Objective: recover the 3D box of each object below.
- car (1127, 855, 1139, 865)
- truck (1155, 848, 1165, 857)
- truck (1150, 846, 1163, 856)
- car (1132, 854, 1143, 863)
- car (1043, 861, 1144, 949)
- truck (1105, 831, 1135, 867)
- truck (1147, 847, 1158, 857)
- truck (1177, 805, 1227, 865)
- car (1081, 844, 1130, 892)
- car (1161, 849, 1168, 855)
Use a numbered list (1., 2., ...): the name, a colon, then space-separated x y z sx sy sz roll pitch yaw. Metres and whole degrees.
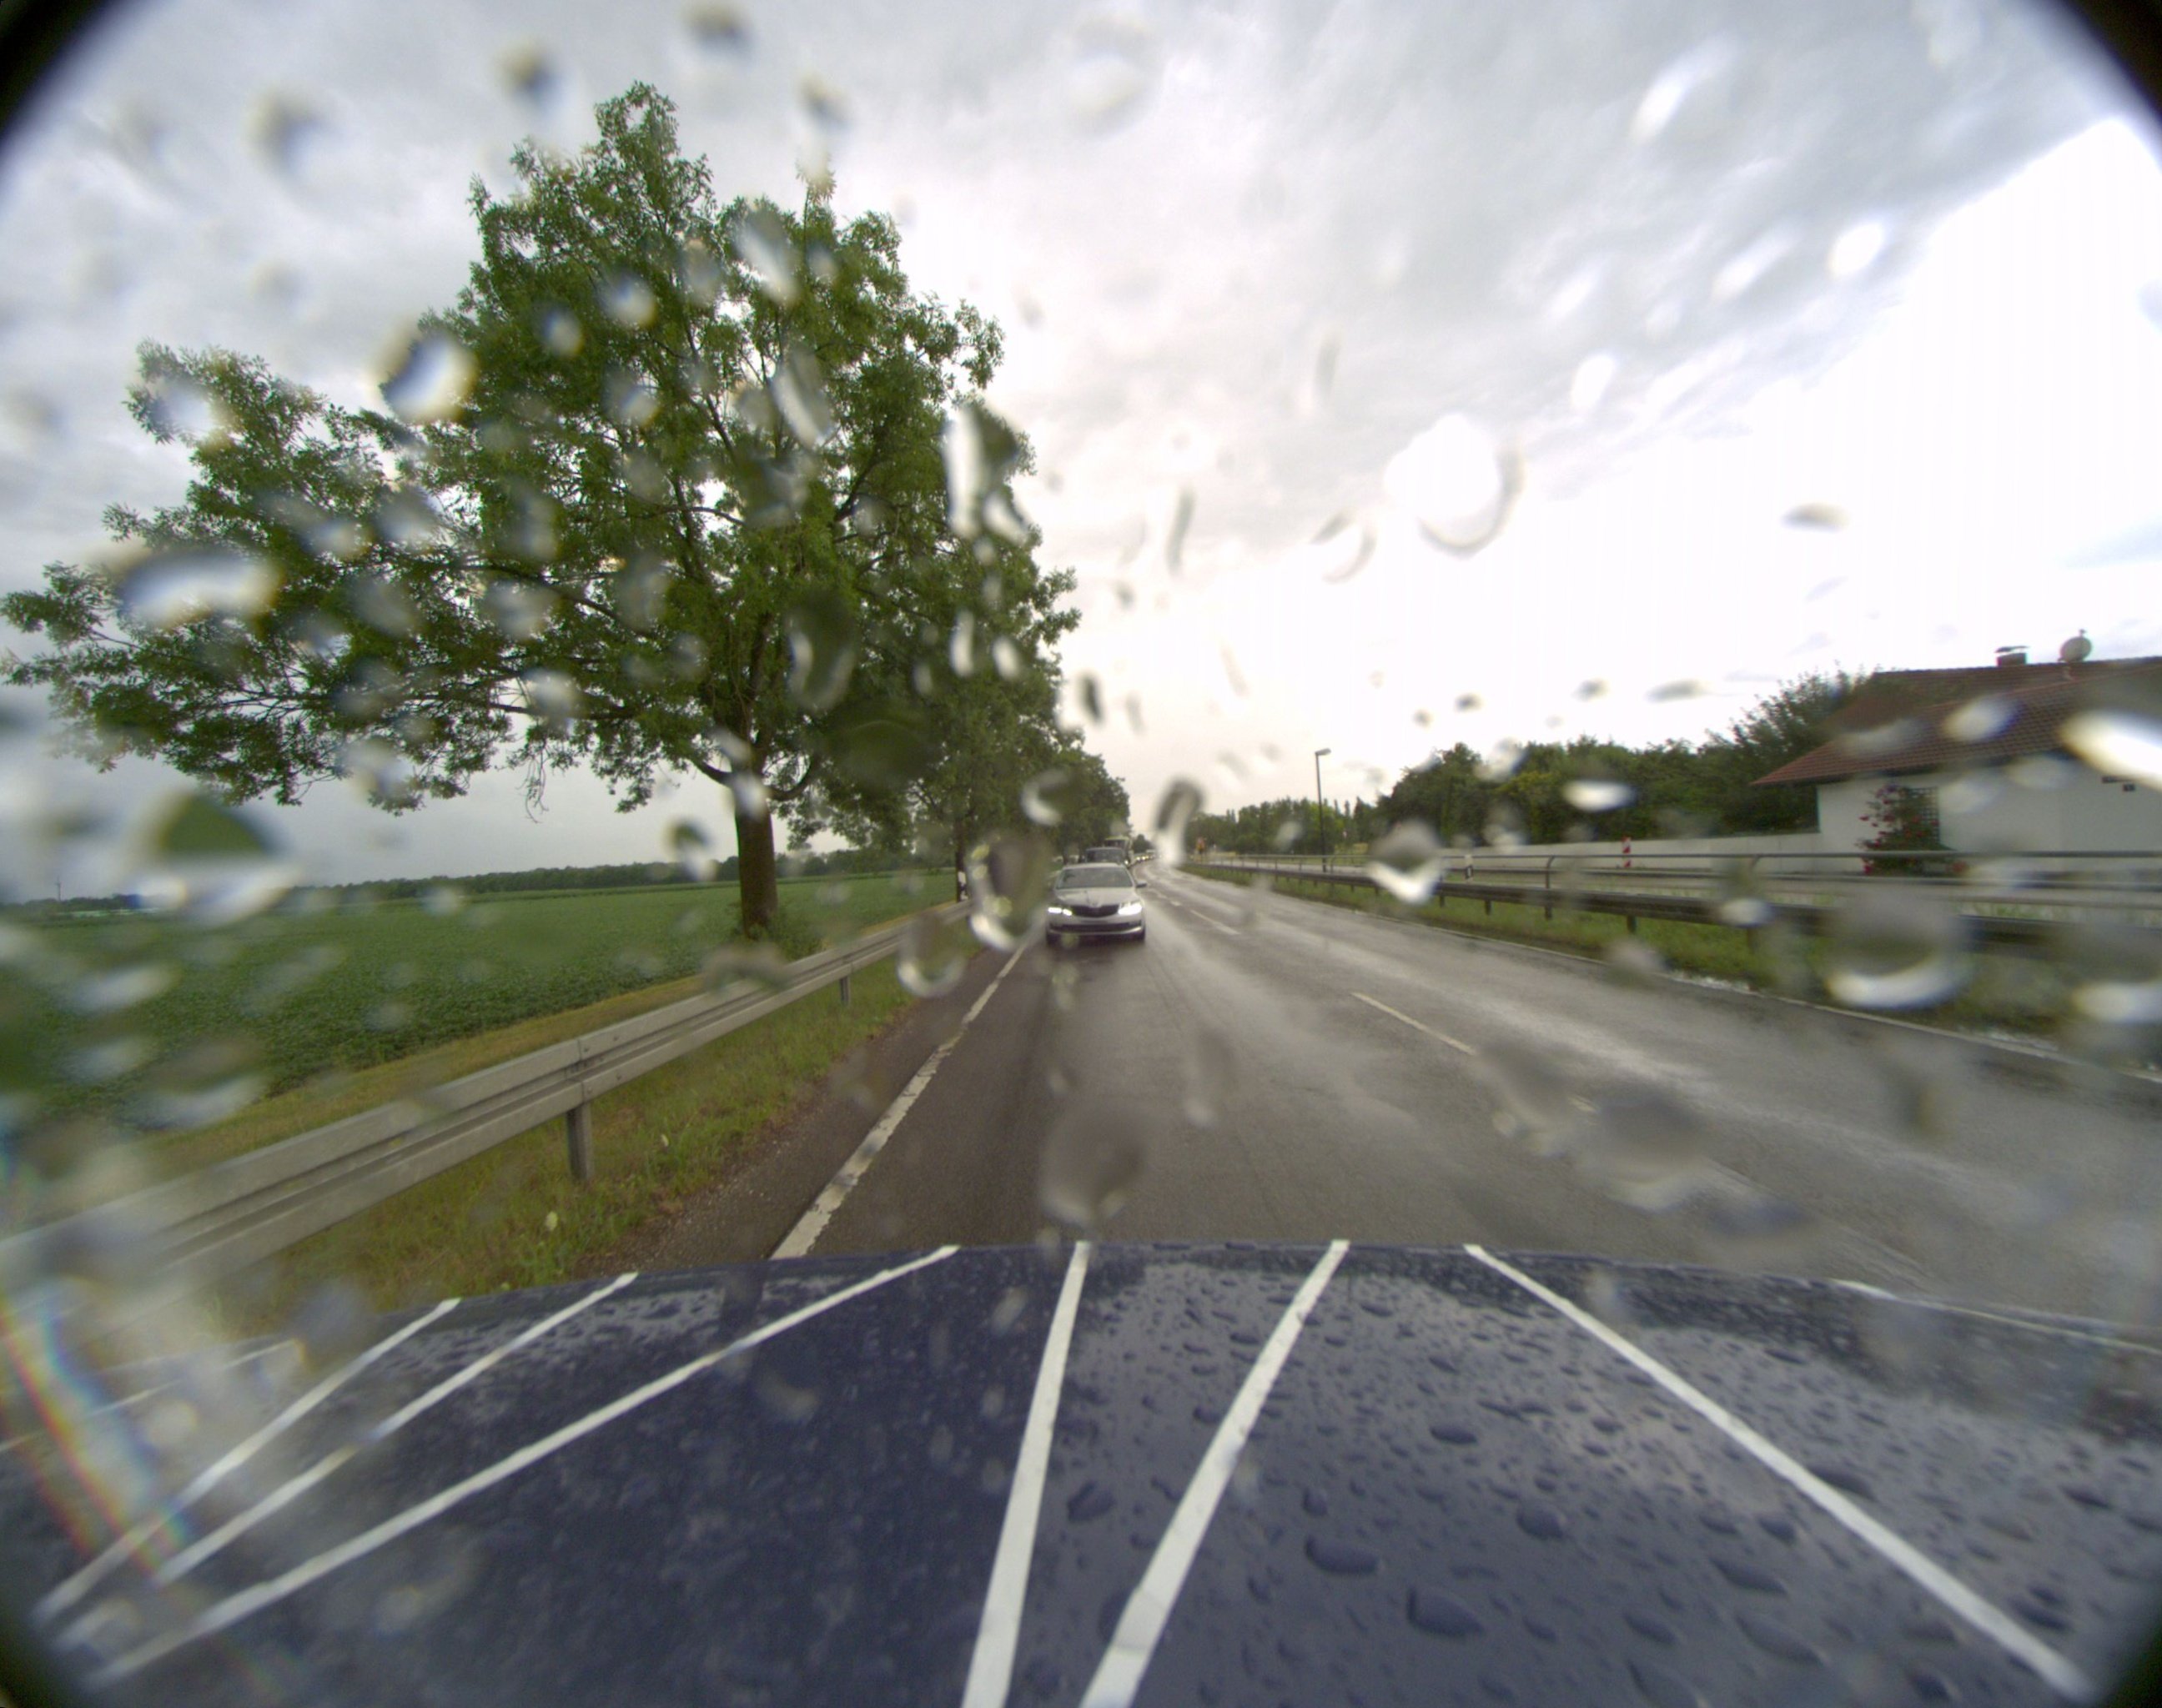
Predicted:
1. car: 8.399 0.985 123.276 1.690 1.572 3.784 -3 0 3
2. truck: 24.934 -0.424 240.583 2.800 2.461 7.169 -3 0 3
3. truck: 19.403 -0.739 194.717 2.800 2.461 7.169 -3 0 3
4. car: 10.384 0.772 139.789 1.690 1.572 3.784 -3 0 3
5. car: 0.200 0.902 15.052 1.705 1.438 4.000 -1 0 0
6. truck: 4.119 -0.507 82.456 2.751 3.547 8.386 -3 0 1
7. truck: 19.900 -0.586 212.339 2.800 2.461 7.169 -3 0 3
8. truck: 11.046 -1.664 70.231 3.256 5.004 7.784 -4 0 1
9. car: 0.984 0.577 32.775 1.903 1.884 4.000 -1 0 0
10. car: 28.242 -0.721 257.098 1.811 1.723 4.027 -3 0 1
